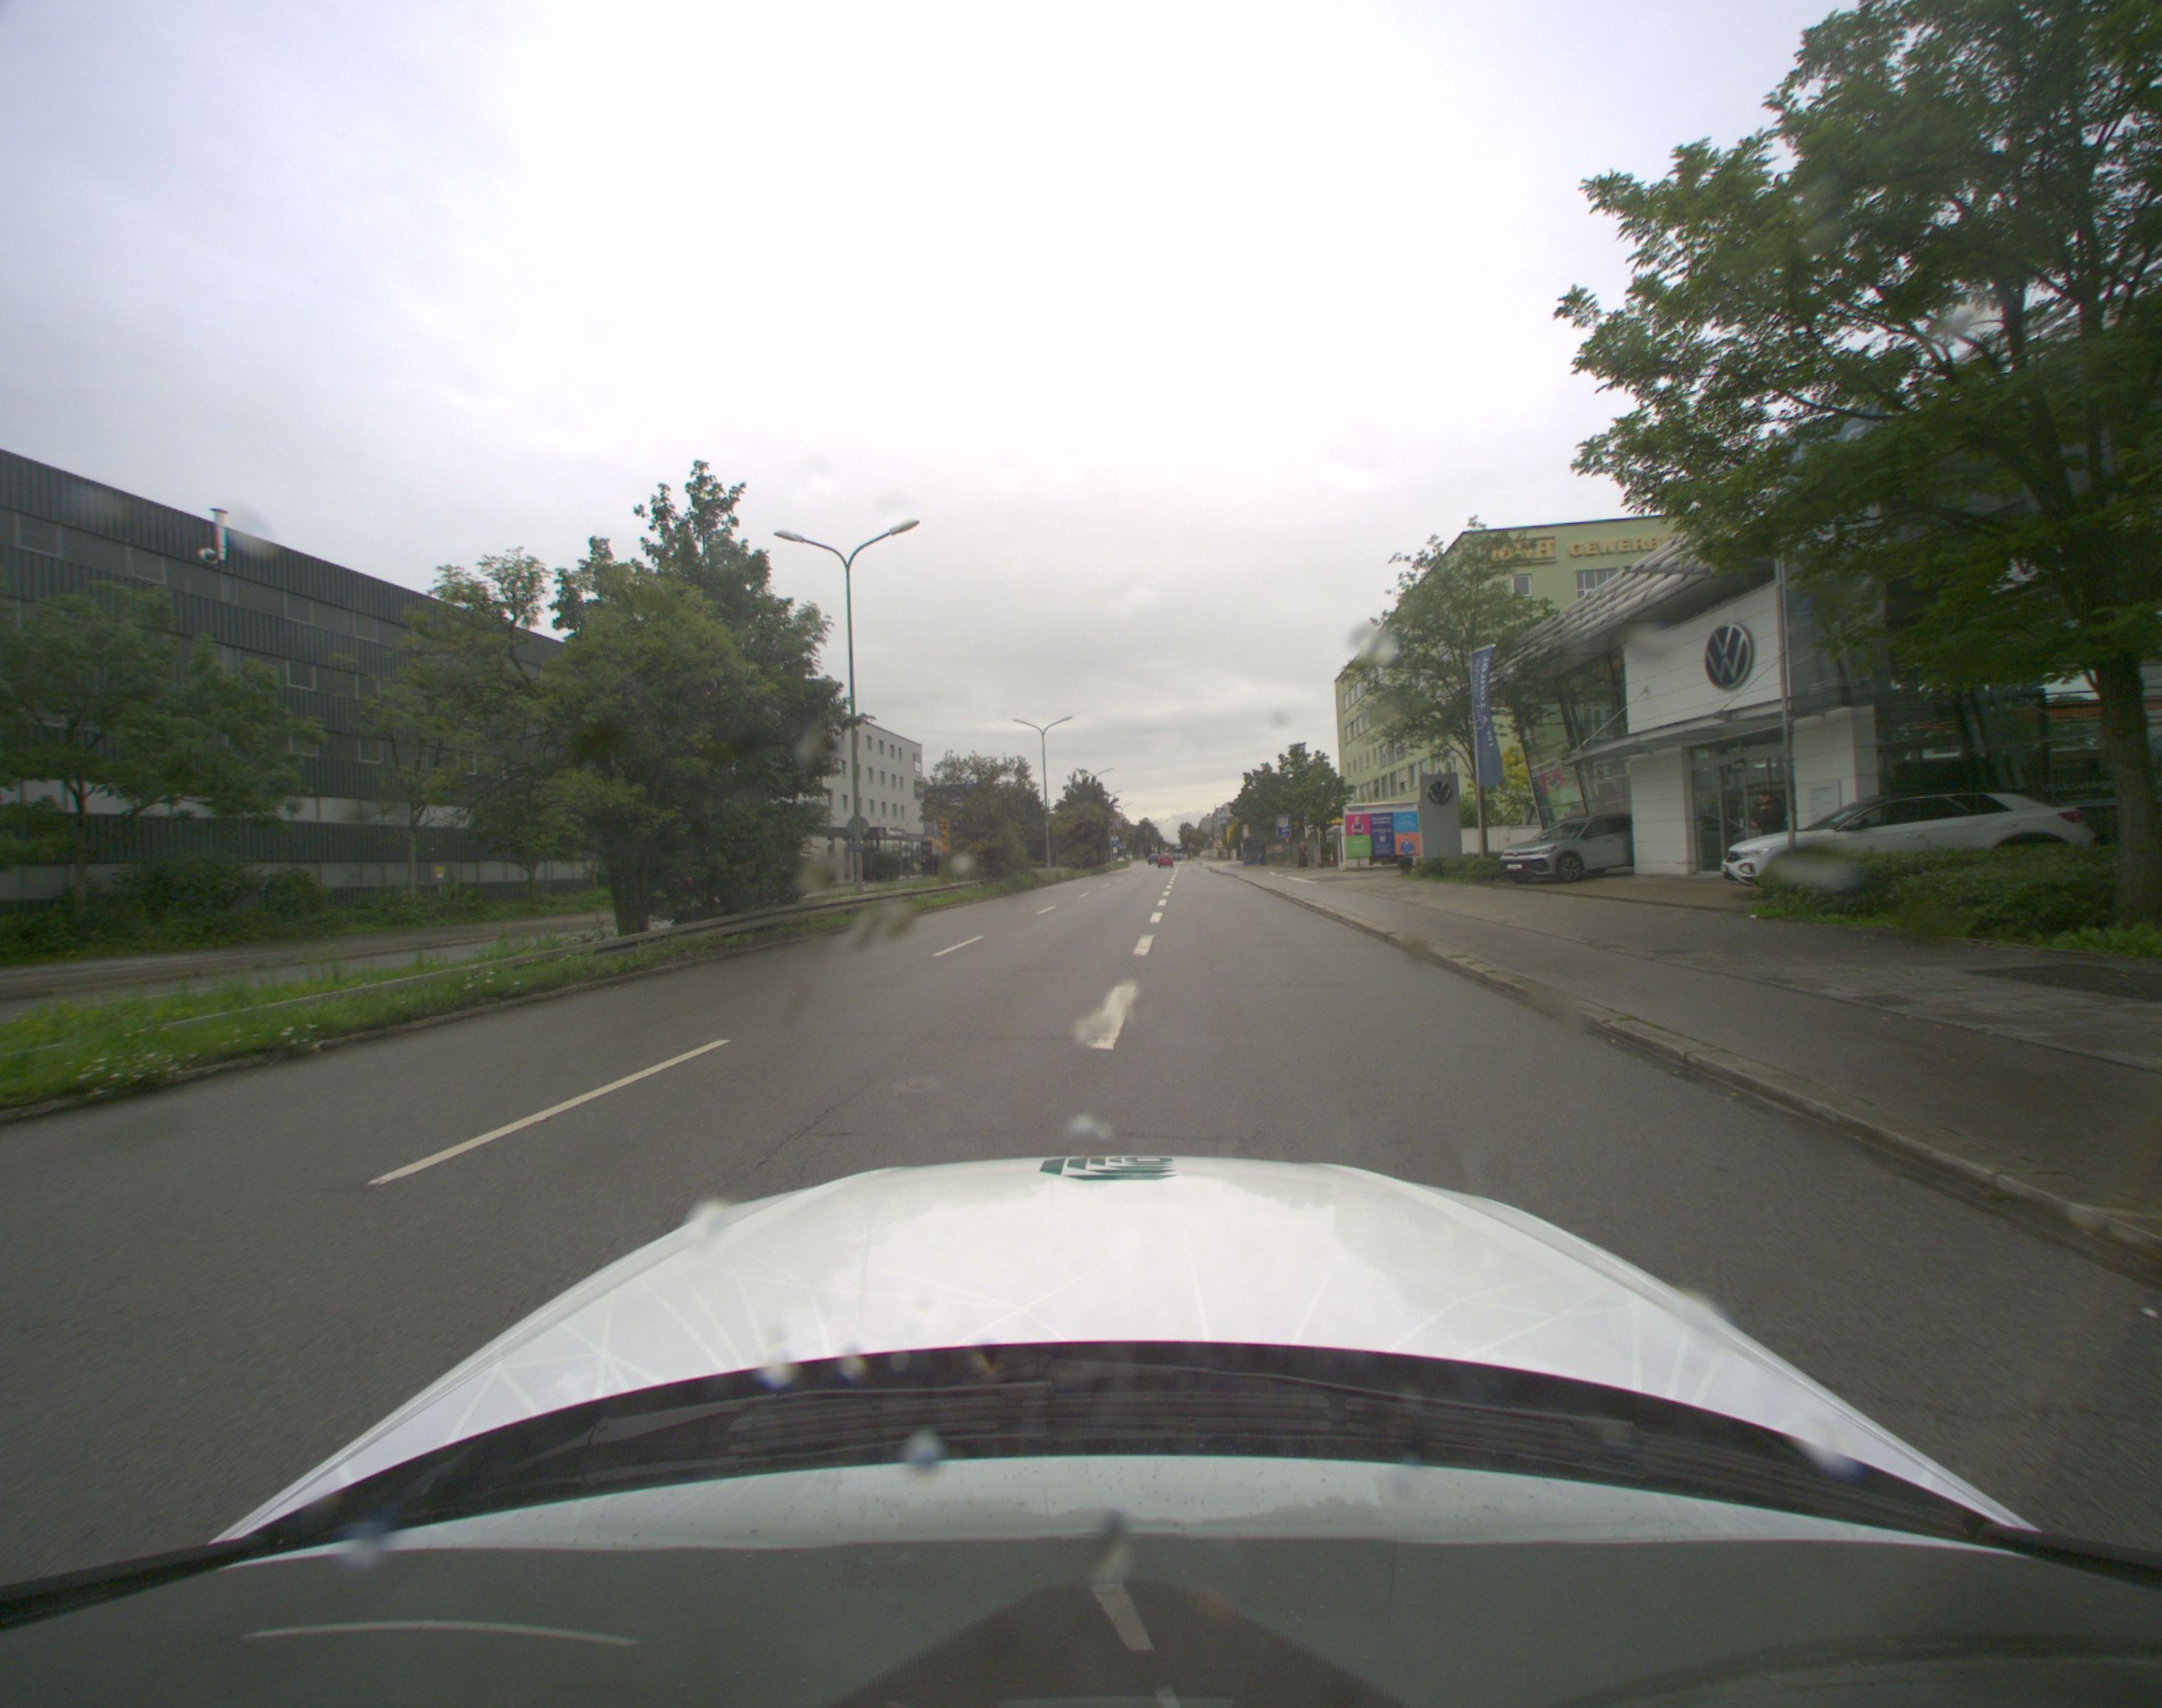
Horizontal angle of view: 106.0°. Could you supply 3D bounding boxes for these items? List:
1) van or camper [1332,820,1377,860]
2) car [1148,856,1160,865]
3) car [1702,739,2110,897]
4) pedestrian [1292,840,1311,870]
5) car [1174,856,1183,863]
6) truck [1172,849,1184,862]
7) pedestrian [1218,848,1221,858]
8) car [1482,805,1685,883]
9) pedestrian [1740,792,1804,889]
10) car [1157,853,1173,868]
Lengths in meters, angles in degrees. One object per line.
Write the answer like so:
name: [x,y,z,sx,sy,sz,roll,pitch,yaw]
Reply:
van or camper: [18.815,-0.893,56.377,2.110,2.497,7.413,-3,0,12]
car: [11.527,1.017,129.052,1.794,1.432,4.006,-3,0,5]
car: [13.061,-0.473,13.373,4.206,2.014,1.975,-5,-2,31]
pedestrian: [13.181,0.047,48.753,0.755,1.728,0.896,-6,-1,4]
car: [21.324,1.177,178.765,1.794,1.432,4.006,-3,-1,5]
truck: [26.767,0.347,225.330,2.954,3.285,7.927,-3,0,5]
pedestrian: [23.090,-0.145,135.567,0.481,1.636,0.591,-3,-1,6]
car: [13.648,-0.259,22.219,4.596,1.706,1.997,-4,-2,-14]
pedestrian: [13.063,-0.255,15.397,0.810,1.776,0.708,-2,-1,-38]
car: [9.959,0.771,96.842,1.853,1.618,4.005,-2,-1,5]
